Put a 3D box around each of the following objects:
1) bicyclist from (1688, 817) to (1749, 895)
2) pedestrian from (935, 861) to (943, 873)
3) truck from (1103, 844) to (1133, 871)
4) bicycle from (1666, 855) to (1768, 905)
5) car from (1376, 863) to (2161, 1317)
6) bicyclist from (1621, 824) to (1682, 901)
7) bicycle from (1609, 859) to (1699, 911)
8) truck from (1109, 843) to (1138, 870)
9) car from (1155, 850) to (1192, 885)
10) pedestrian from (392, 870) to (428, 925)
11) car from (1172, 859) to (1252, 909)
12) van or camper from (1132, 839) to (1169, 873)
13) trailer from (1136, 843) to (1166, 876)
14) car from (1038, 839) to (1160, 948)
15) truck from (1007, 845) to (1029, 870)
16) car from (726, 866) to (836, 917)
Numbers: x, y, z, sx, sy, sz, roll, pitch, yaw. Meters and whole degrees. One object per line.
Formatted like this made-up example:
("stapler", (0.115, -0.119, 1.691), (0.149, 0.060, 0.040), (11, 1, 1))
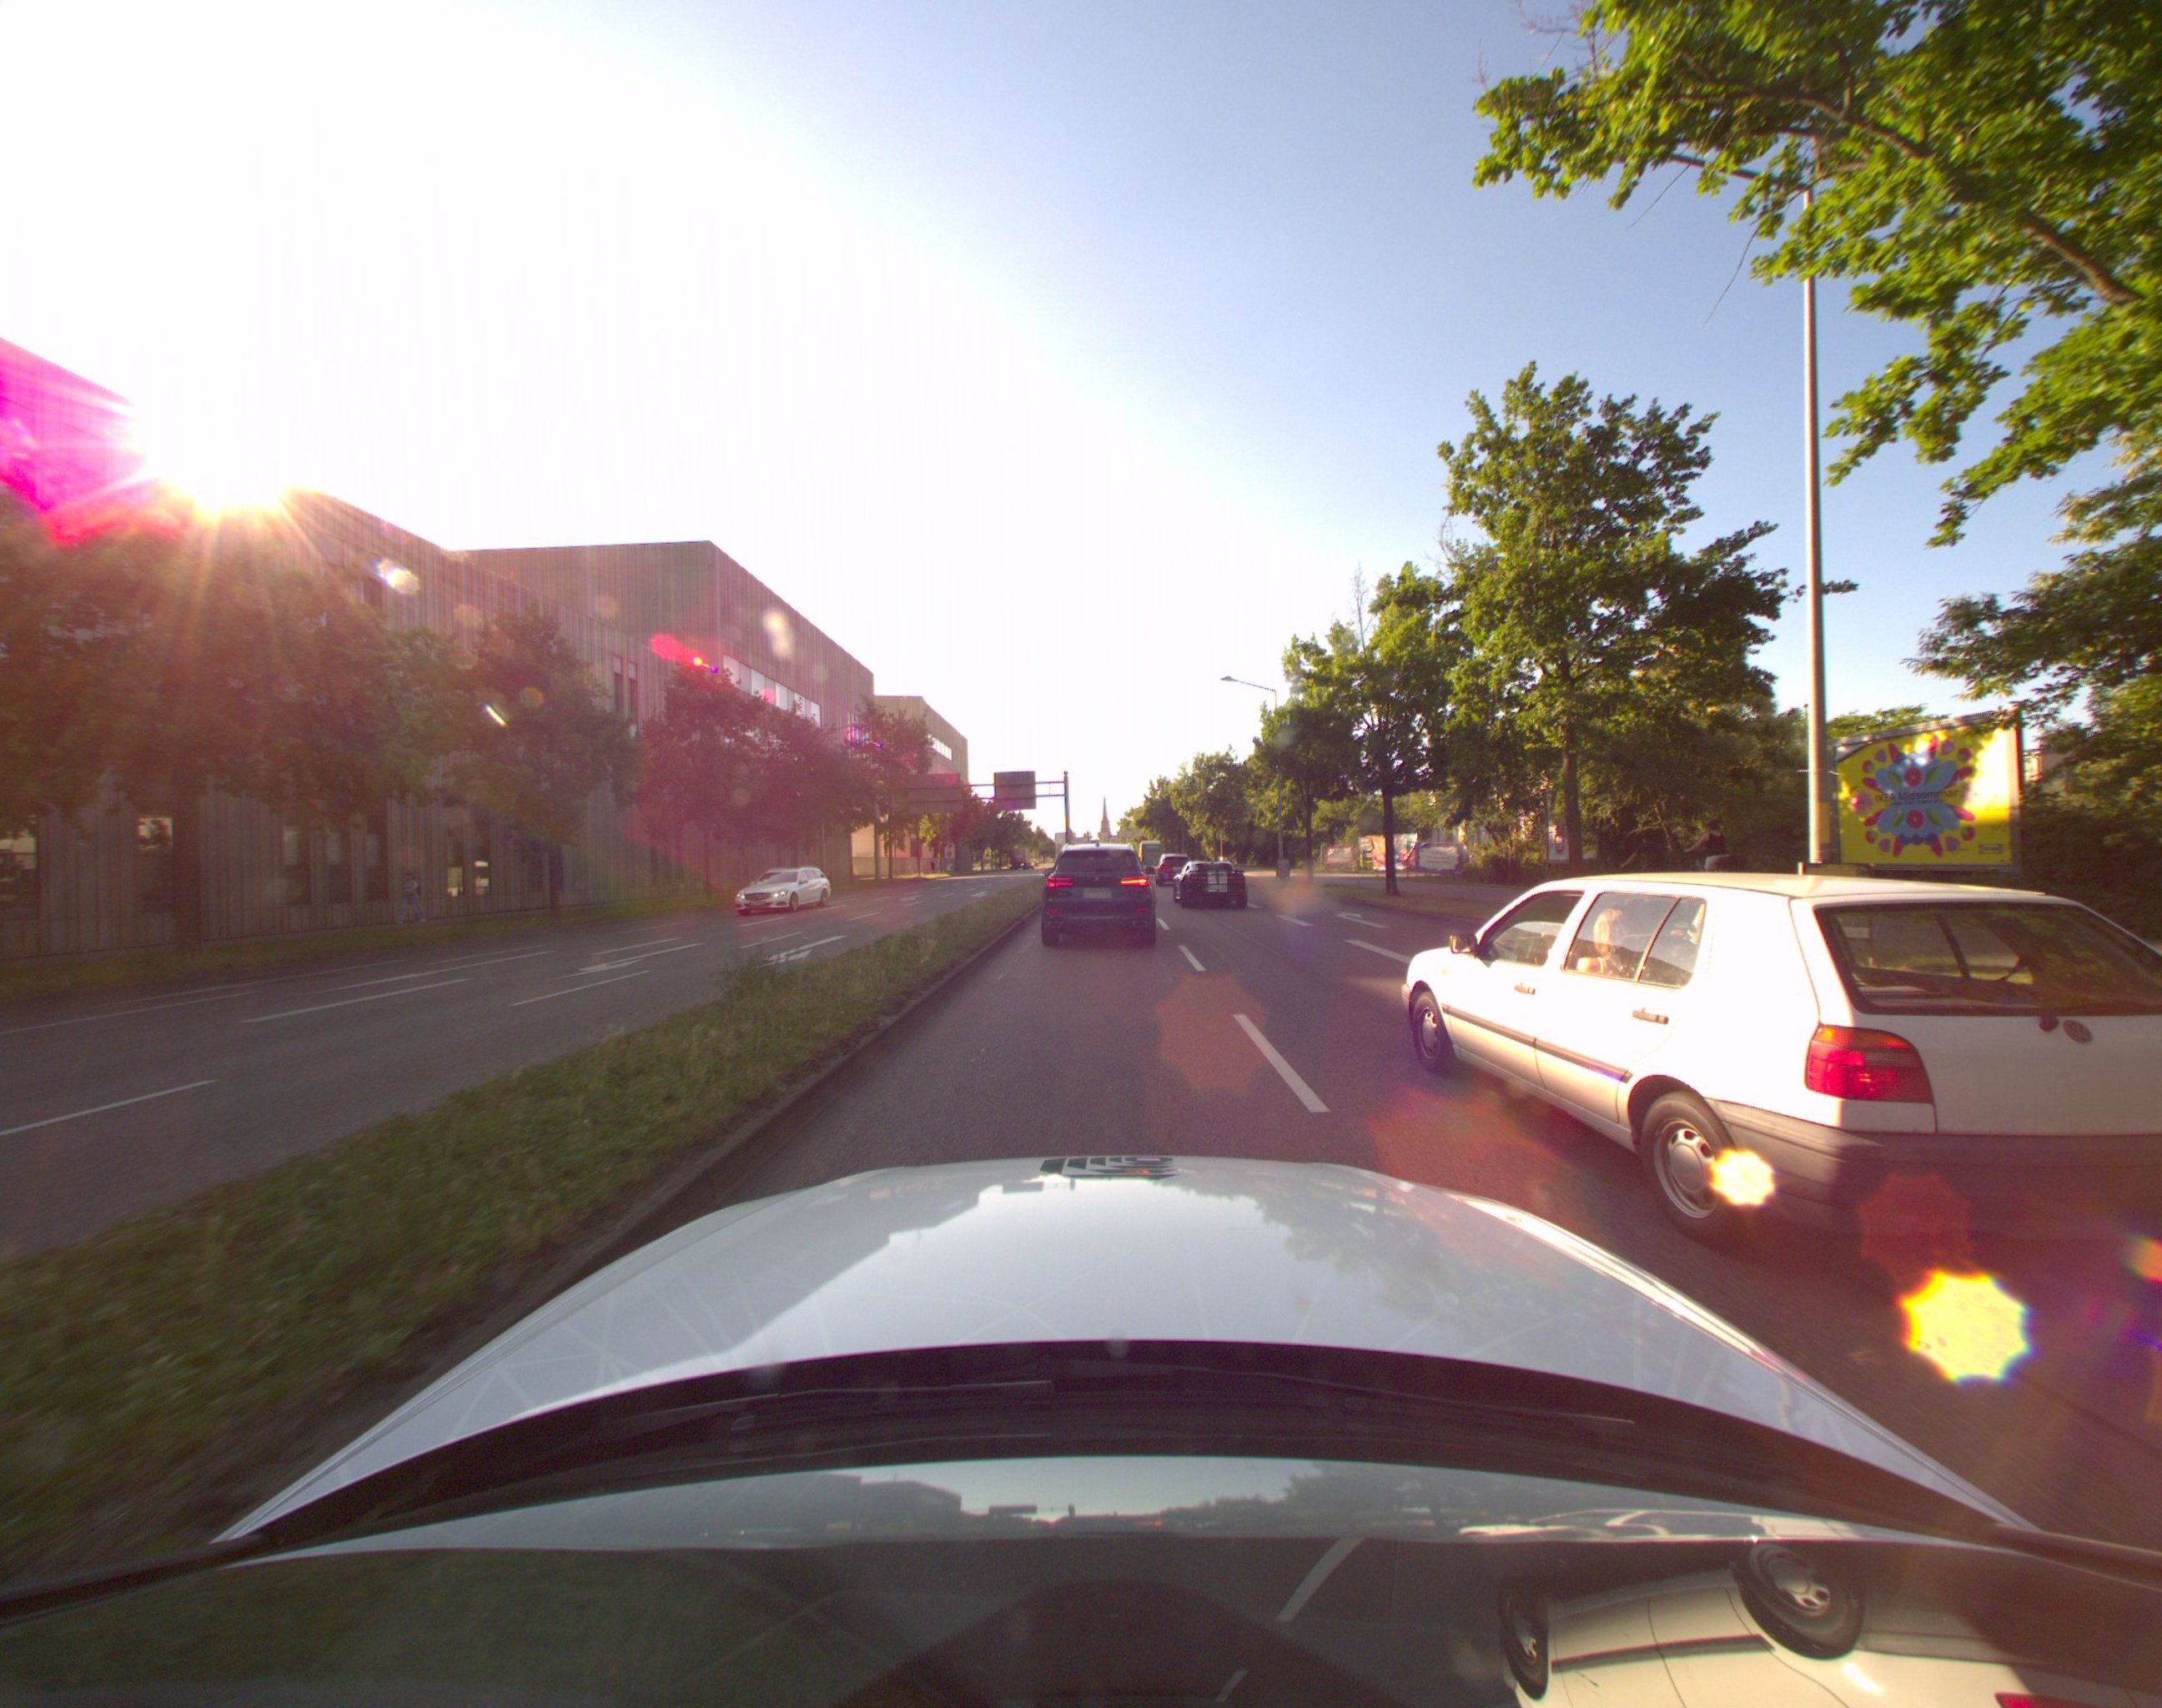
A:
("bicyclist", (13.334, 0.033, 17.058), (0.600, 1.578, 0.849), (-2, -1, 3))
("pedestrian", (-18.333, 1.678, 105.302), (0.773, 1.601, 0.910), (-2, 0, 2))
("truck", (3.780, 0.339, 83.911), (2.573, 2.558, 6.248), (-2, 0, -1))
("bicycle", (13.367, 0.517, 17.205), (0.614, 0.973, 2.060), (-2, 0, 3))
("car", (3.161, 0.760, 4.563), (1.605, 1.398, 4.038), (0, -1, 1))
("bicyclist", (11.560, 0.177, 16.527), (0.610, 1.501, 0.849), (-2, -1, 3))
("bicycle", (11.570, 0.603, 16.527), (0.614, 0.973, 1.823), (-2, 0, 3))
("truck", (4.290, 0.293, 83.243), (2.217, 2.651, 4.762), (-2, 0, -6))
("car", (4.715, 0.707, 41.338), (1.738, 1.621, 3.826), (-2, -2, 7))
("pedestrian", (-22.255, 1.436, 27.034), (0.600, 1.767, 0.649), (-2, -1, 3))
("car", (3.811, 0.838, 24.463), (1.847, 1.338, 4.628), (-1, 0, 3))
("van or camper", (5.671, 0.203, 67.365), (2.278, 2.629, 6.579), (-1, 0, -1))
("trailer", (5.252, 0.401, 61.282), (2.082, 2.400, 3.502), (0, -1, 2))
("car", (0.397, 0.675, 15.463), (1.947, 1.727, 4.702), (-1, -1, 3))
("truck", (-10.132, 0.617, 132.202), (2.990, 3.811, 10.081), (-2, 0, -2))
("car", (-10.407, 1.230, 28.654), (1.838, 1.472, 4.818), (-3, 0, 2))
